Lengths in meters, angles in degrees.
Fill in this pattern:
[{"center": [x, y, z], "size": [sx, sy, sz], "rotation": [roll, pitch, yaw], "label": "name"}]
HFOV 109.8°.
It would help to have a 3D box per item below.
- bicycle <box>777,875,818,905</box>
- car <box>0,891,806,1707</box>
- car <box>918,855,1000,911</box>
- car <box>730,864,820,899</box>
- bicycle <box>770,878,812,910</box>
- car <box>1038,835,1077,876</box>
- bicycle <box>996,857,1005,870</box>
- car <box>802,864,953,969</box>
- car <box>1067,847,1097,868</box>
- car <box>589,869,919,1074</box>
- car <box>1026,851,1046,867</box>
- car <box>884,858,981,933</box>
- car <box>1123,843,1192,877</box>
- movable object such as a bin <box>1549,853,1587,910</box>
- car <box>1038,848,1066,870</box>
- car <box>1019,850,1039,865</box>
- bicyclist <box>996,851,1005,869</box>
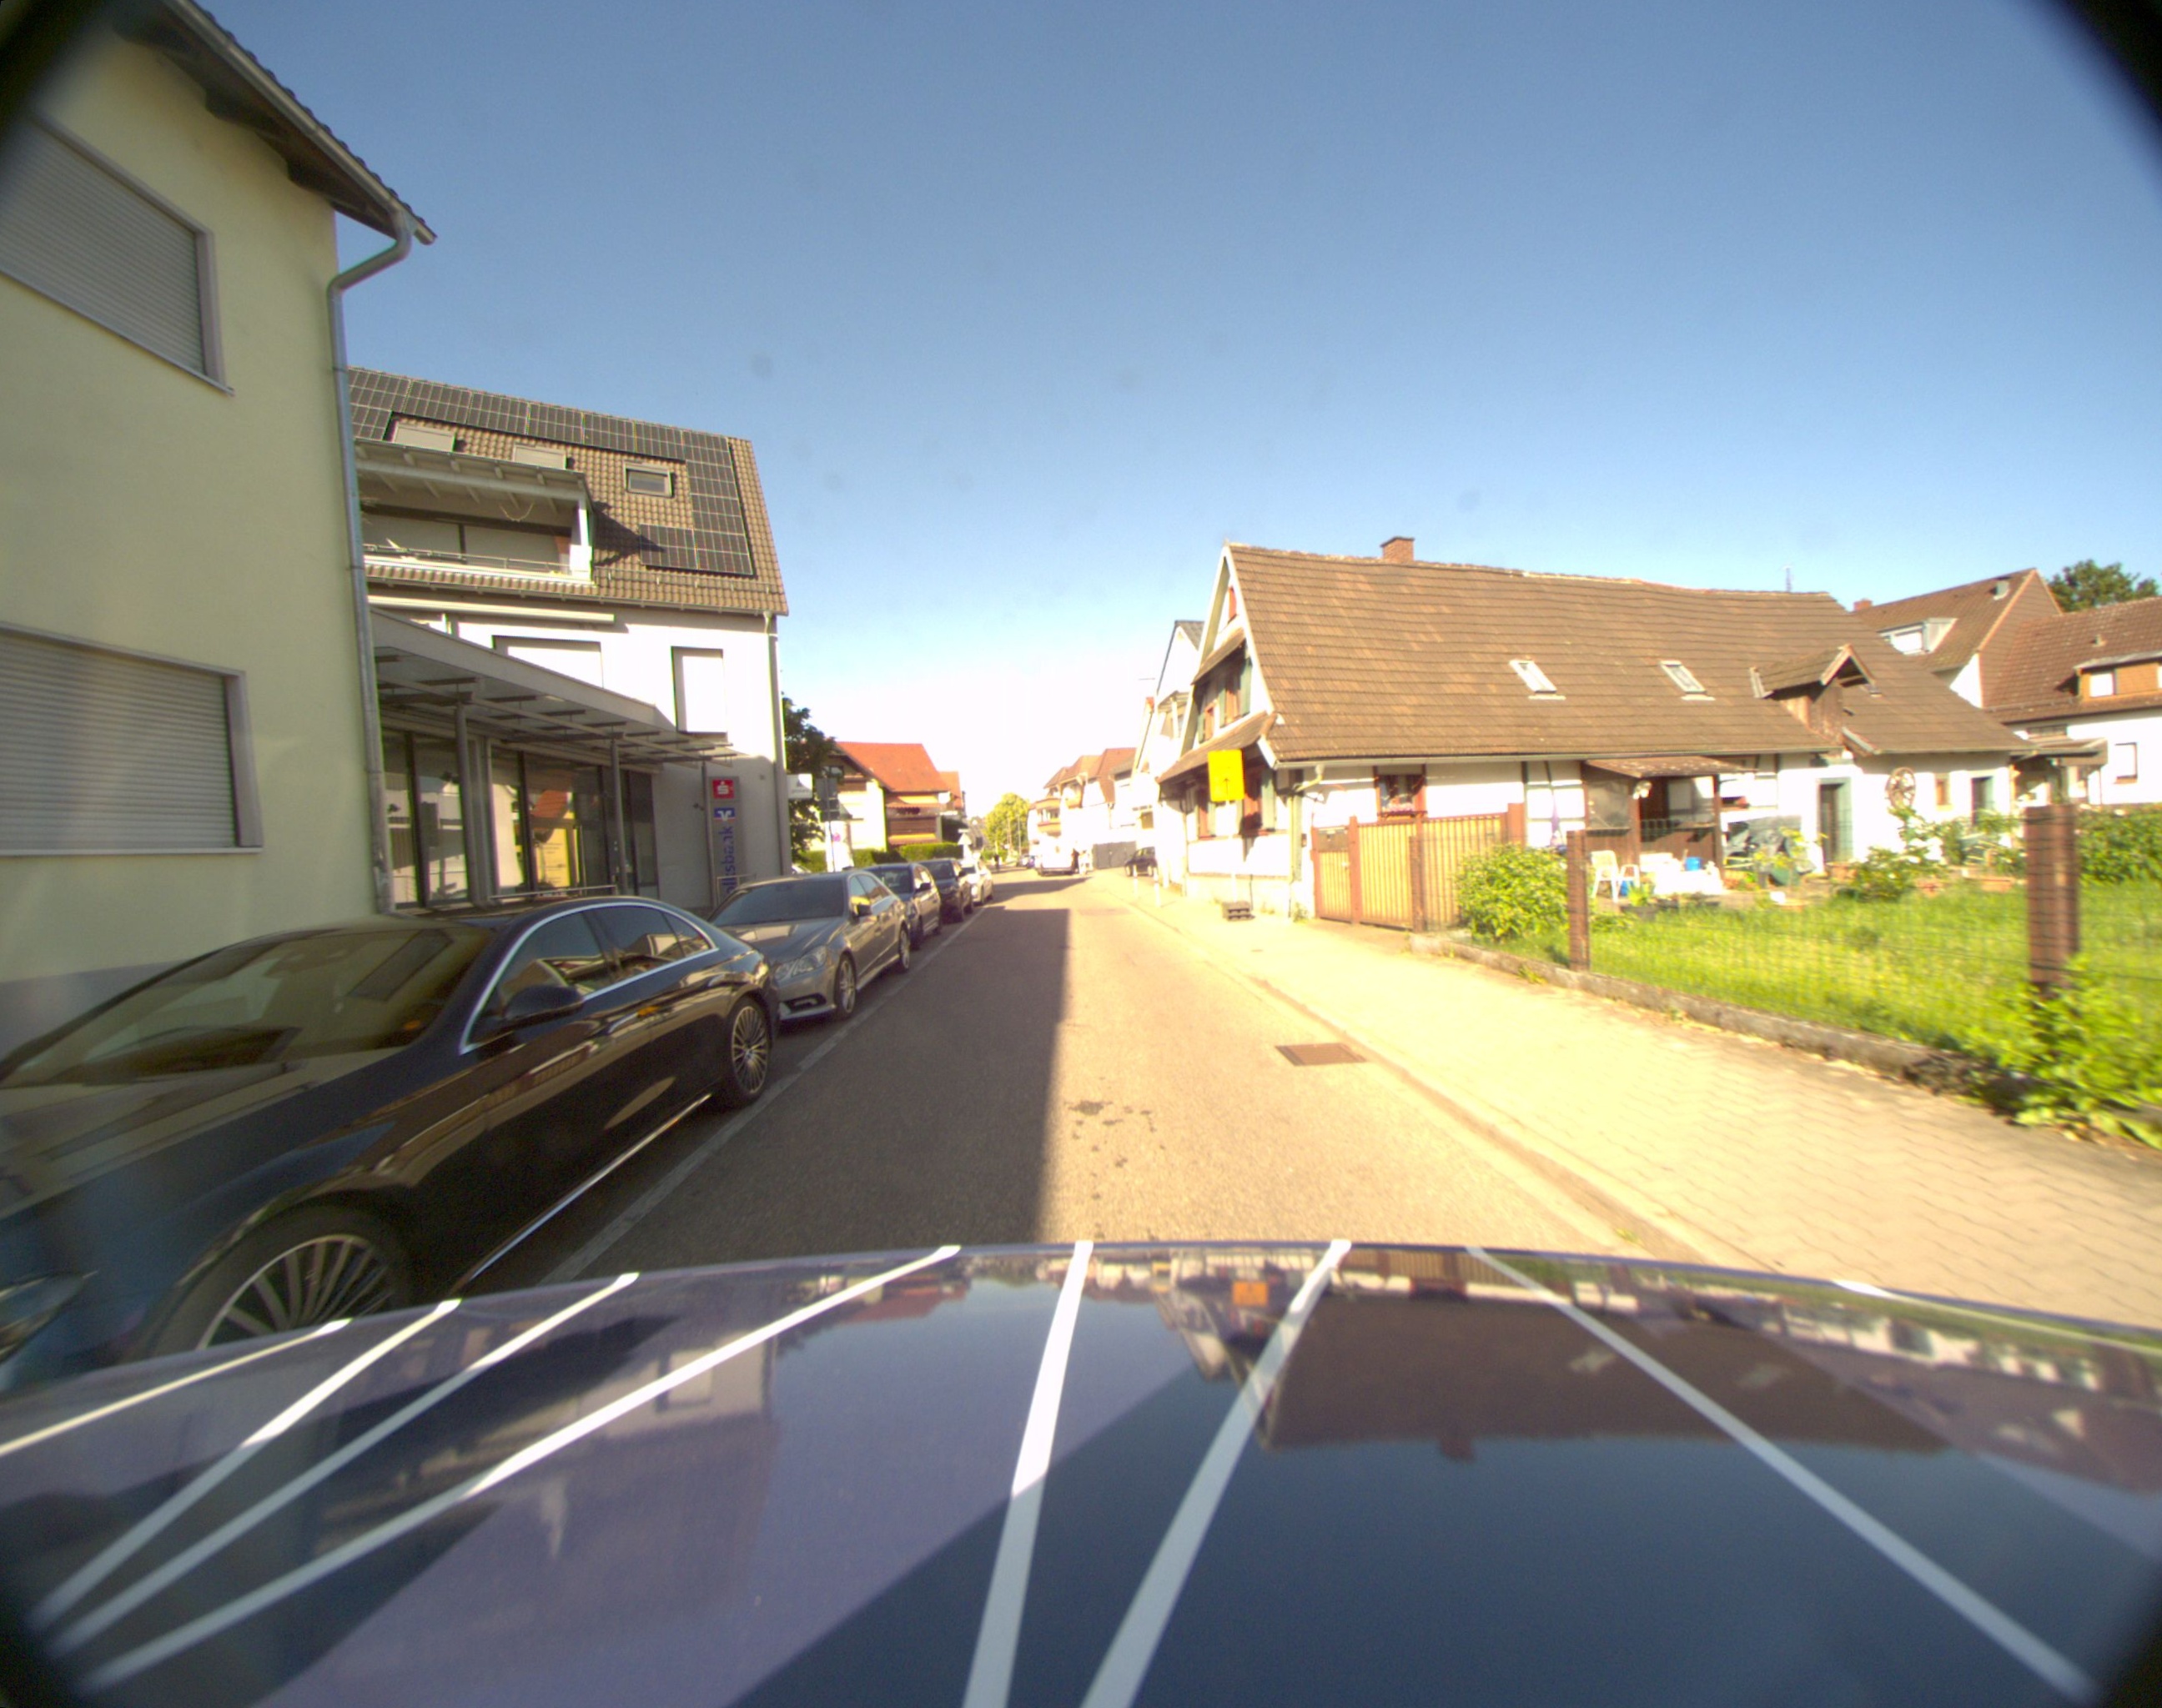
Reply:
[{"center": [-9.117, 1.146, 24.423], "size": [1.165, 0.915, 0.313], "rotation": [-3, 1, 5], "label": "bicycle"}, {"center": [-2.961, 1.090, 3.145], "size": [1.813, 1.467, 4.843], "rotation": [-5, 1, -1], "label": "car"}, {"center": [-3.843, 0.866, 24.776], "size": [1.850, 1.505, 4.506], "rotation": [-3, 0, 0], "label": "car"}, {"center": [-16.469, 1.453, 41.089], "size": [4.307, 1.584, 1.811], "rotation": [-2, 2, -17], "label": "car"}, {"center": [-9.020, 1.246, 23.653], "size": [1.165, 0.915, 0.313], "rotation": [-3, 1, 5], "label": "bicycle"}, {"center": [-1.632, 0.075, 50.598], "size": [2.259, 2.456, 5.513], "rotation": [-3, 1, -4], "label": "car"}, {"center": [-7.701, 0.871, 72.803], "size": [0.640, 1.175, 2.021], "rotation": [-3, 1, -3], "label": "bicycle"}, {"center": [-3.574, 1.019, 14.083], "size": [1.730, 1.467, 3.874], "rotation": [-5, 1, -2], "label": "car"}, {"center": [0.068, 0.287, 64.199], "size": [1.648, 1.578, 4.108], "rotation": [-4, 1, -11], "label": "car"}, {"center": [-3.234, 1.037, 8.653], "size": [1.813, 1.467, 4.443], "rotation": [-5, 1, -2], "label": "car"}, {"center": [-4.564, 0.488, 77.289], "size": [1.623, 1.431, 3.953], "rotation": [-3, 0, -8], "label": "car"}, {"center": [-3.574, 0.935, 18.975], "size": [1.614, 1.512, 3.970], "rotation": [-5, 1, -2], "label": "car"}, {"center": [3.685, 0.291, 37.321], "size": [1.695, 1.437, 4.170], "rotation": [-4, 1, -18], "label": "car"}, {"center": [9.000, 0.509, 14.037], "size": [0.418, 1.010, 0.362], "rotation": [-4, 1, -14], "label": "movable object such as a bin"}, {"center": [-2.315, 0.367, 59.860], "size": [1.728, 1.609, 4.109], "rotation": [-3, 1, -8], "label": "car"}, {"center": [-5.878, 0.425, 86.012], "size": [1.764, 1.547, 3.996], "rotation": [-3, 1, -10], "label": "car"}, {"center": [-7.717, 0.585, 72.898], "size": [0.643, 1.655, 0.604], "rotation": [-4, 1, -3], "label": "bicyclist"}]
